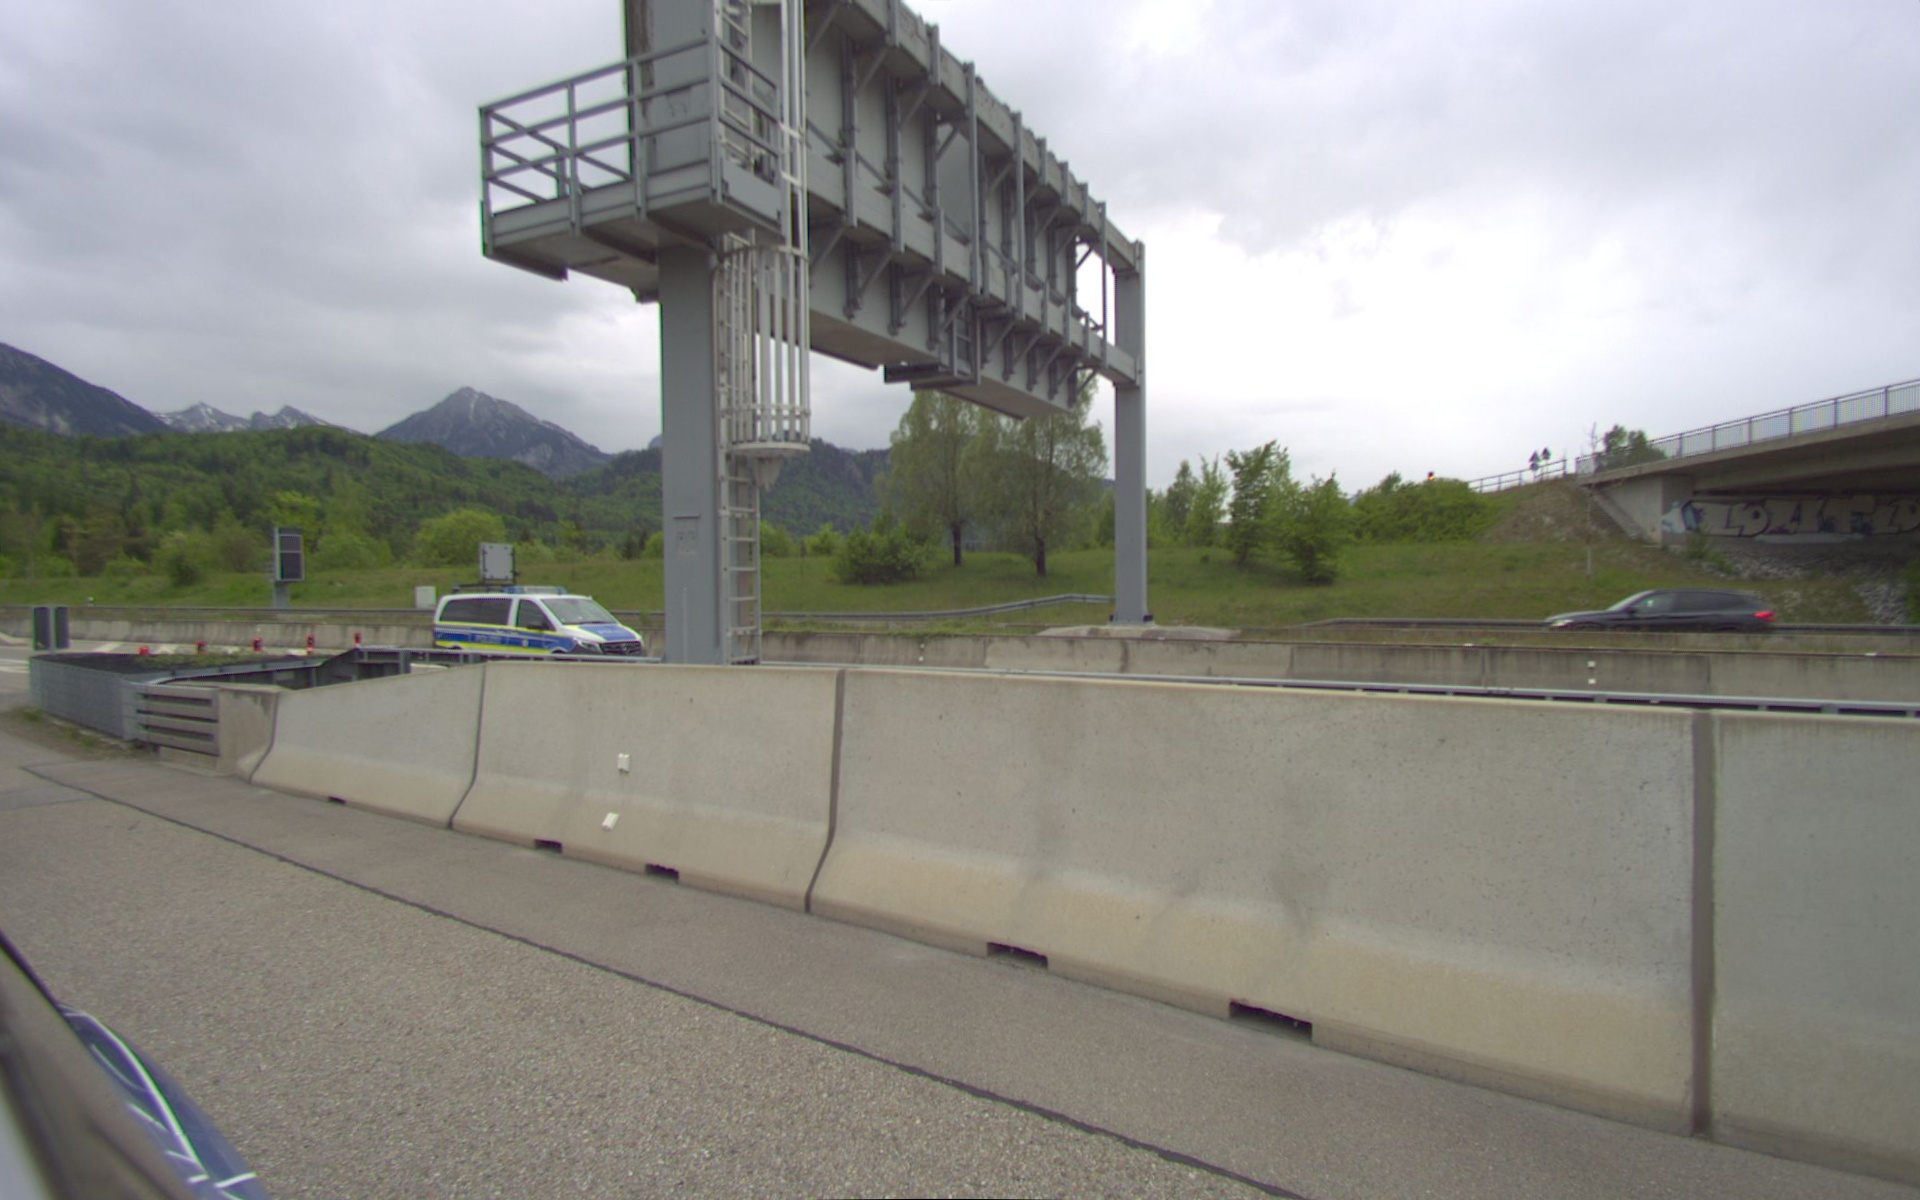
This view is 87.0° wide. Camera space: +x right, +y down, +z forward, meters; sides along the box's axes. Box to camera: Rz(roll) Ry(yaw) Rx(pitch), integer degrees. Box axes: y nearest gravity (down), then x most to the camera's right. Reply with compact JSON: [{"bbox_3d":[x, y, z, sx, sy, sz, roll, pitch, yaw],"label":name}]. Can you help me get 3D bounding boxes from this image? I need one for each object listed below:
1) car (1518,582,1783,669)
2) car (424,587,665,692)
[{"bbox_3d":[16.685,0.599,24.832,5.081,1.970,1.974,0,-1,26],"label":"car"},{"bbox_3d":[-8.948,0.776,21.710,5.028,2.029,2.085,0,-1,28],"label":"car"}]
